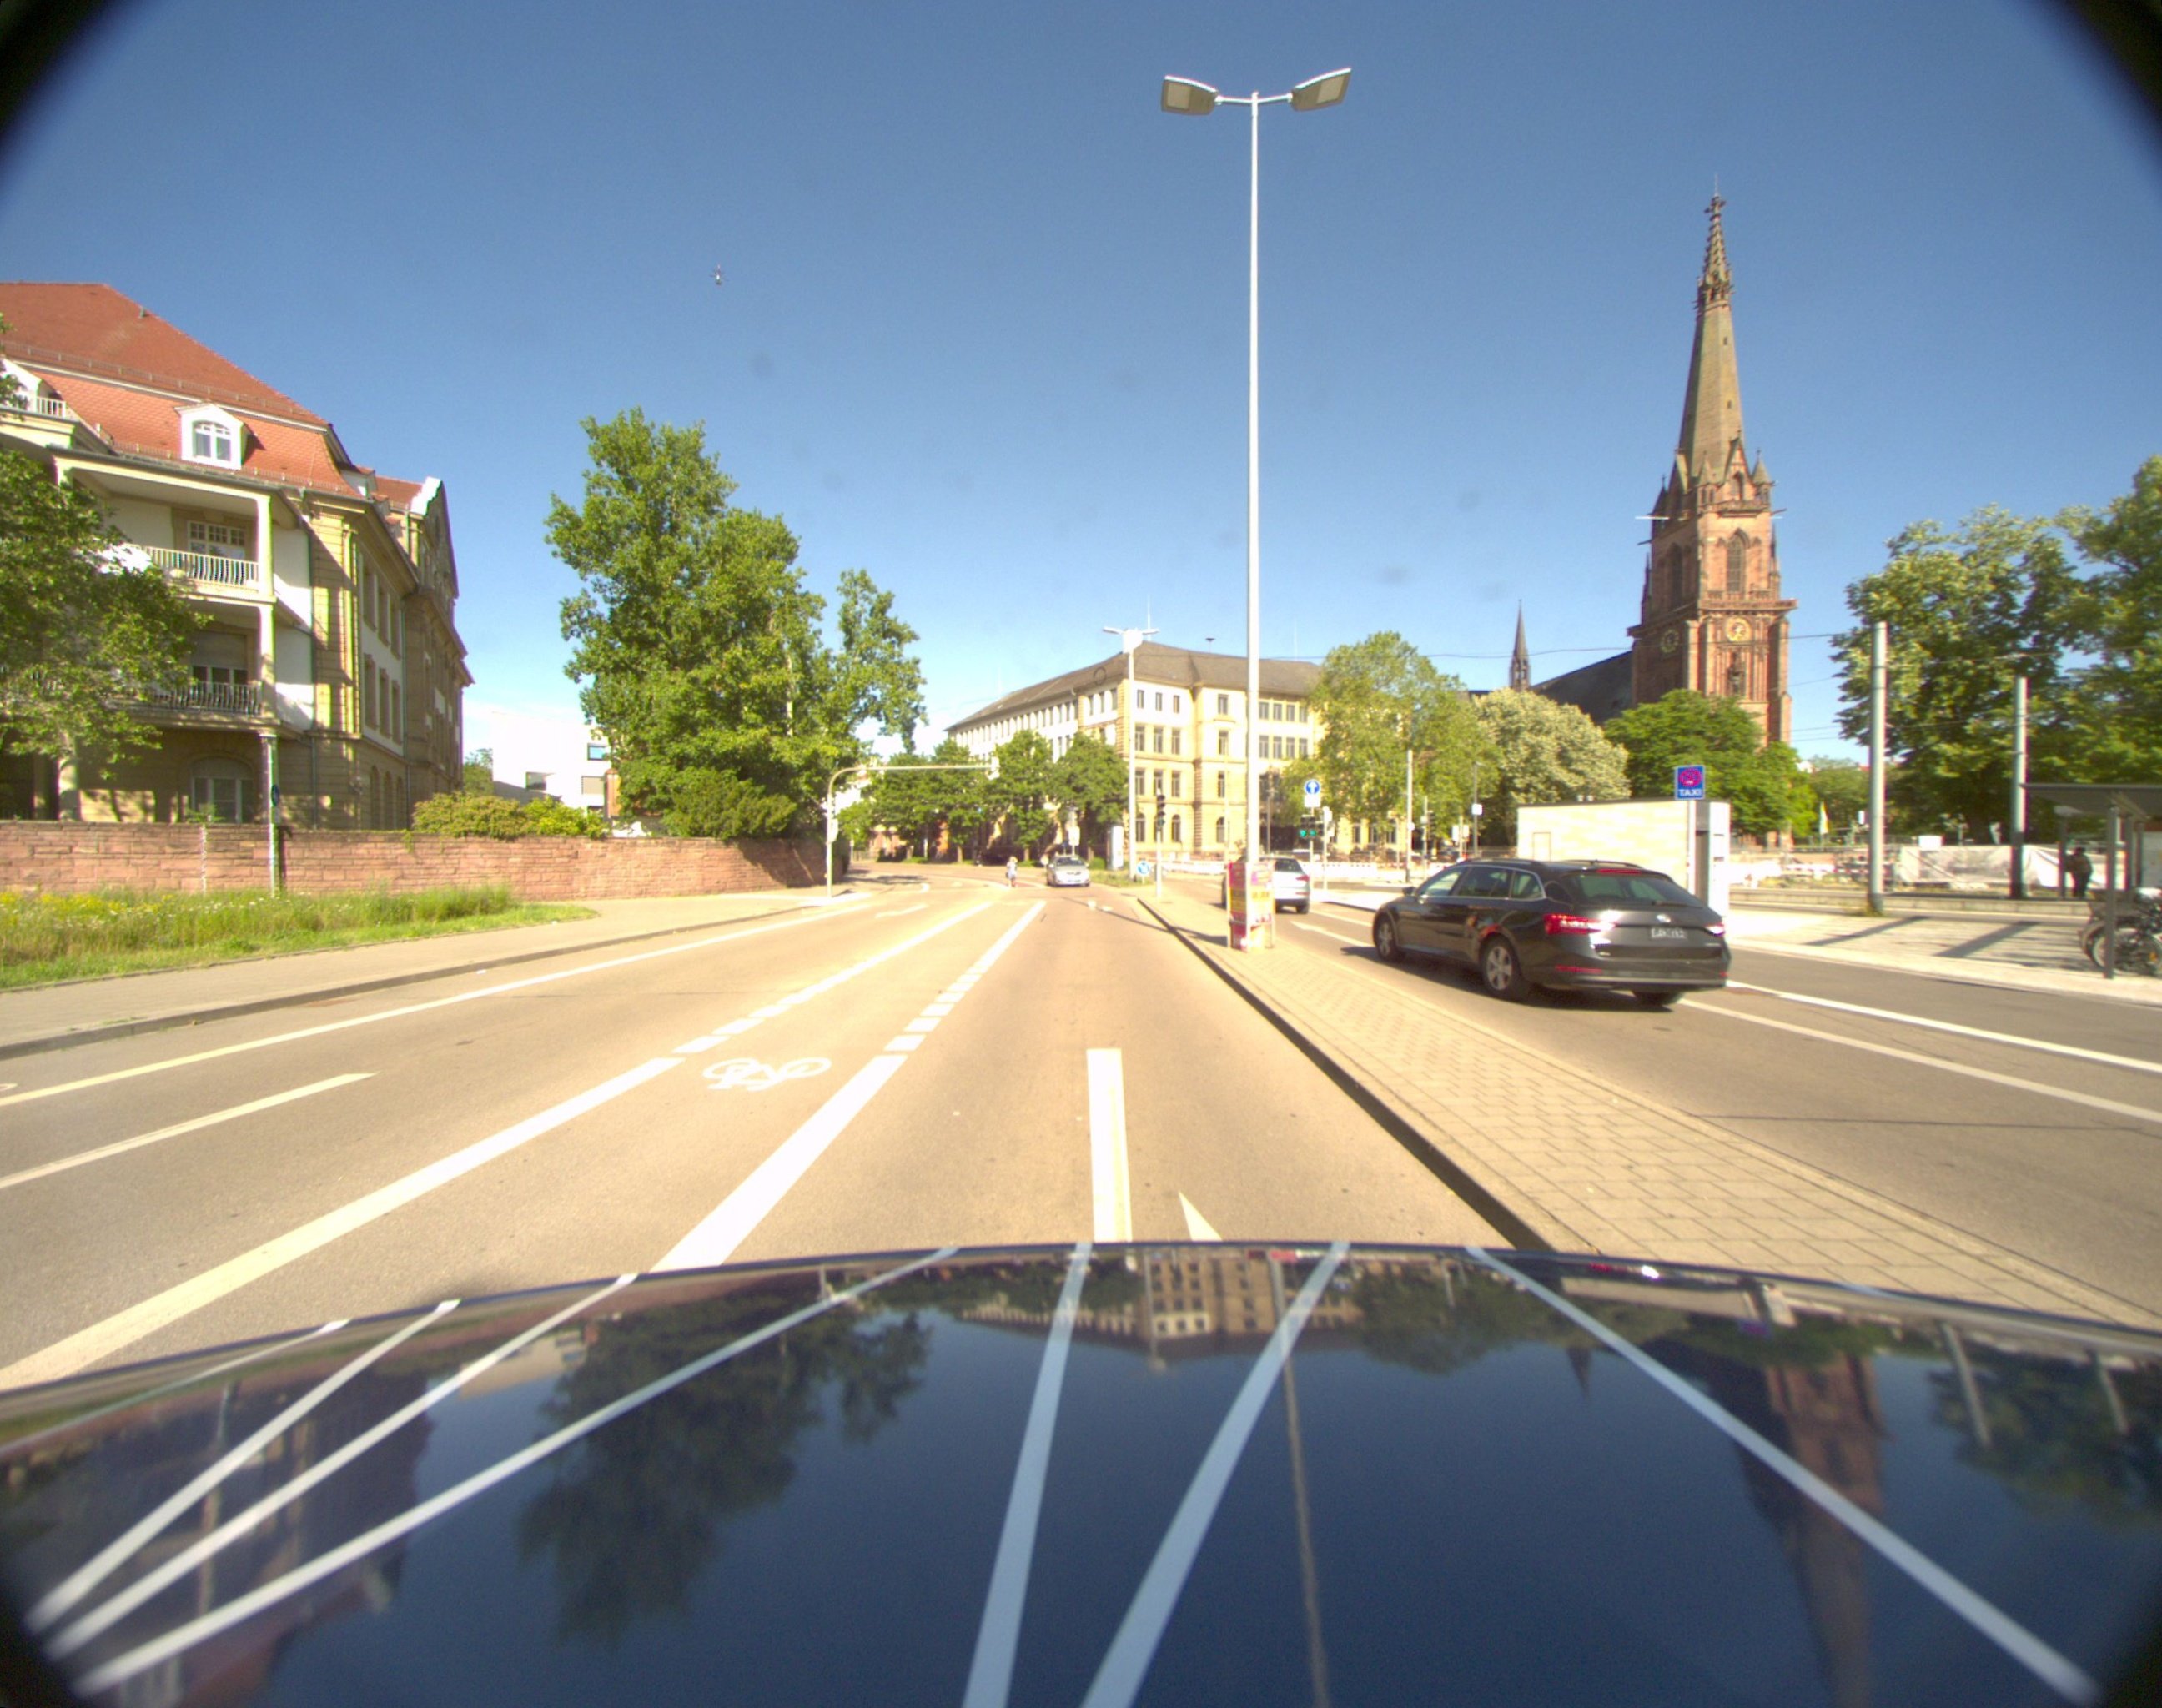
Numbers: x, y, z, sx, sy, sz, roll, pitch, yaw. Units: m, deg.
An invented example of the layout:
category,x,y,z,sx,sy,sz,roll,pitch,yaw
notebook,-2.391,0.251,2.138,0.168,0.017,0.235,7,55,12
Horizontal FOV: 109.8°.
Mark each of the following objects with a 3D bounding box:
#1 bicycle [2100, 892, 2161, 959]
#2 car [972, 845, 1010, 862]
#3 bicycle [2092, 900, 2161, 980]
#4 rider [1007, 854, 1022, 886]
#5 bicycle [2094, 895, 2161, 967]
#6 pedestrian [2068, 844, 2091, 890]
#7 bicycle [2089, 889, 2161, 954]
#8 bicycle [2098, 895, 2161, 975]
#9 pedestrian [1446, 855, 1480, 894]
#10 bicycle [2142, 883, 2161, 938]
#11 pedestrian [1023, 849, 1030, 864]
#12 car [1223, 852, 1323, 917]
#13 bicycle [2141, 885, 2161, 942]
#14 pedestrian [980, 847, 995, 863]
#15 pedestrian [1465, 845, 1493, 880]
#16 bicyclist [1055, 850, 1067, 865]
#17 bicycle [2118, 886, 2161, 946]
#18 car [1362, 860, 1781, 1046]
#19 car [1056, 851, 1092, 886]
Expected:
category,x,y,z,sx,sy,sz,roll,pitch,yaw
bicycle,17.254,1.145,11.660,0.458,1.003,1.899,-1,1,-33
car,-10.735,-0.038,90.765,1.994,2.002,4.721,0,1,32
bicycle,14.694,1.168,9.970,0.458,1.003,1.667,-1,1,-33
rider,-3.479,0.817,39.648,0.658,1.610,0.989,-1,1,1
bicycle,16.067,1.140,10.981,0.458,1.003,1.667,-1,1,-33
pedestrian,37.565,0.495,28.583,0.404,1.711,0.419,1,1,38
bicycle,17.908,1.124,12.433,0.458,1.003,1.667,-1,1,-33
bicycle,15.195,1.138,10.285,0.458,1.055,1.667,-1,1,-33
pedestrian,17.535,0.923,34.875,0.977,1.769,1.131,0,1,-1
bicycle,20.482,1.060,13.615,0.458,1.003,1.667,-1,1,-33
pedestrian,-6.312,0.266,87.961,0.677,1.714,0.588,-1,2,-22
car,5.133,0.744,20.892,1.859,1.533,4.241,1,1,3
bicycle,19.889,1.072,13.205,0.458,1.003,1.667,-1,1,-33
pedestrian,-10.977,0.141,89.219,0.934,1.812,1.394,1,1,45
pedestrian,20.086,0.422,38.345,0.977,1.769,0.803,0,1,-1
bicyclist,-1.862,0.306,72.079,0.893,1.377,0.735,1,1,44
bicycle,19.121,1.095,12.953,0.458,1.003,1.667,-1,1,-33
car,5.054,0.871,8.800,1.793,1.490,4.574,1,1,-1
car,-0.377,0.685,38.253,1.706,1.657,3.913,-1,1,-1
